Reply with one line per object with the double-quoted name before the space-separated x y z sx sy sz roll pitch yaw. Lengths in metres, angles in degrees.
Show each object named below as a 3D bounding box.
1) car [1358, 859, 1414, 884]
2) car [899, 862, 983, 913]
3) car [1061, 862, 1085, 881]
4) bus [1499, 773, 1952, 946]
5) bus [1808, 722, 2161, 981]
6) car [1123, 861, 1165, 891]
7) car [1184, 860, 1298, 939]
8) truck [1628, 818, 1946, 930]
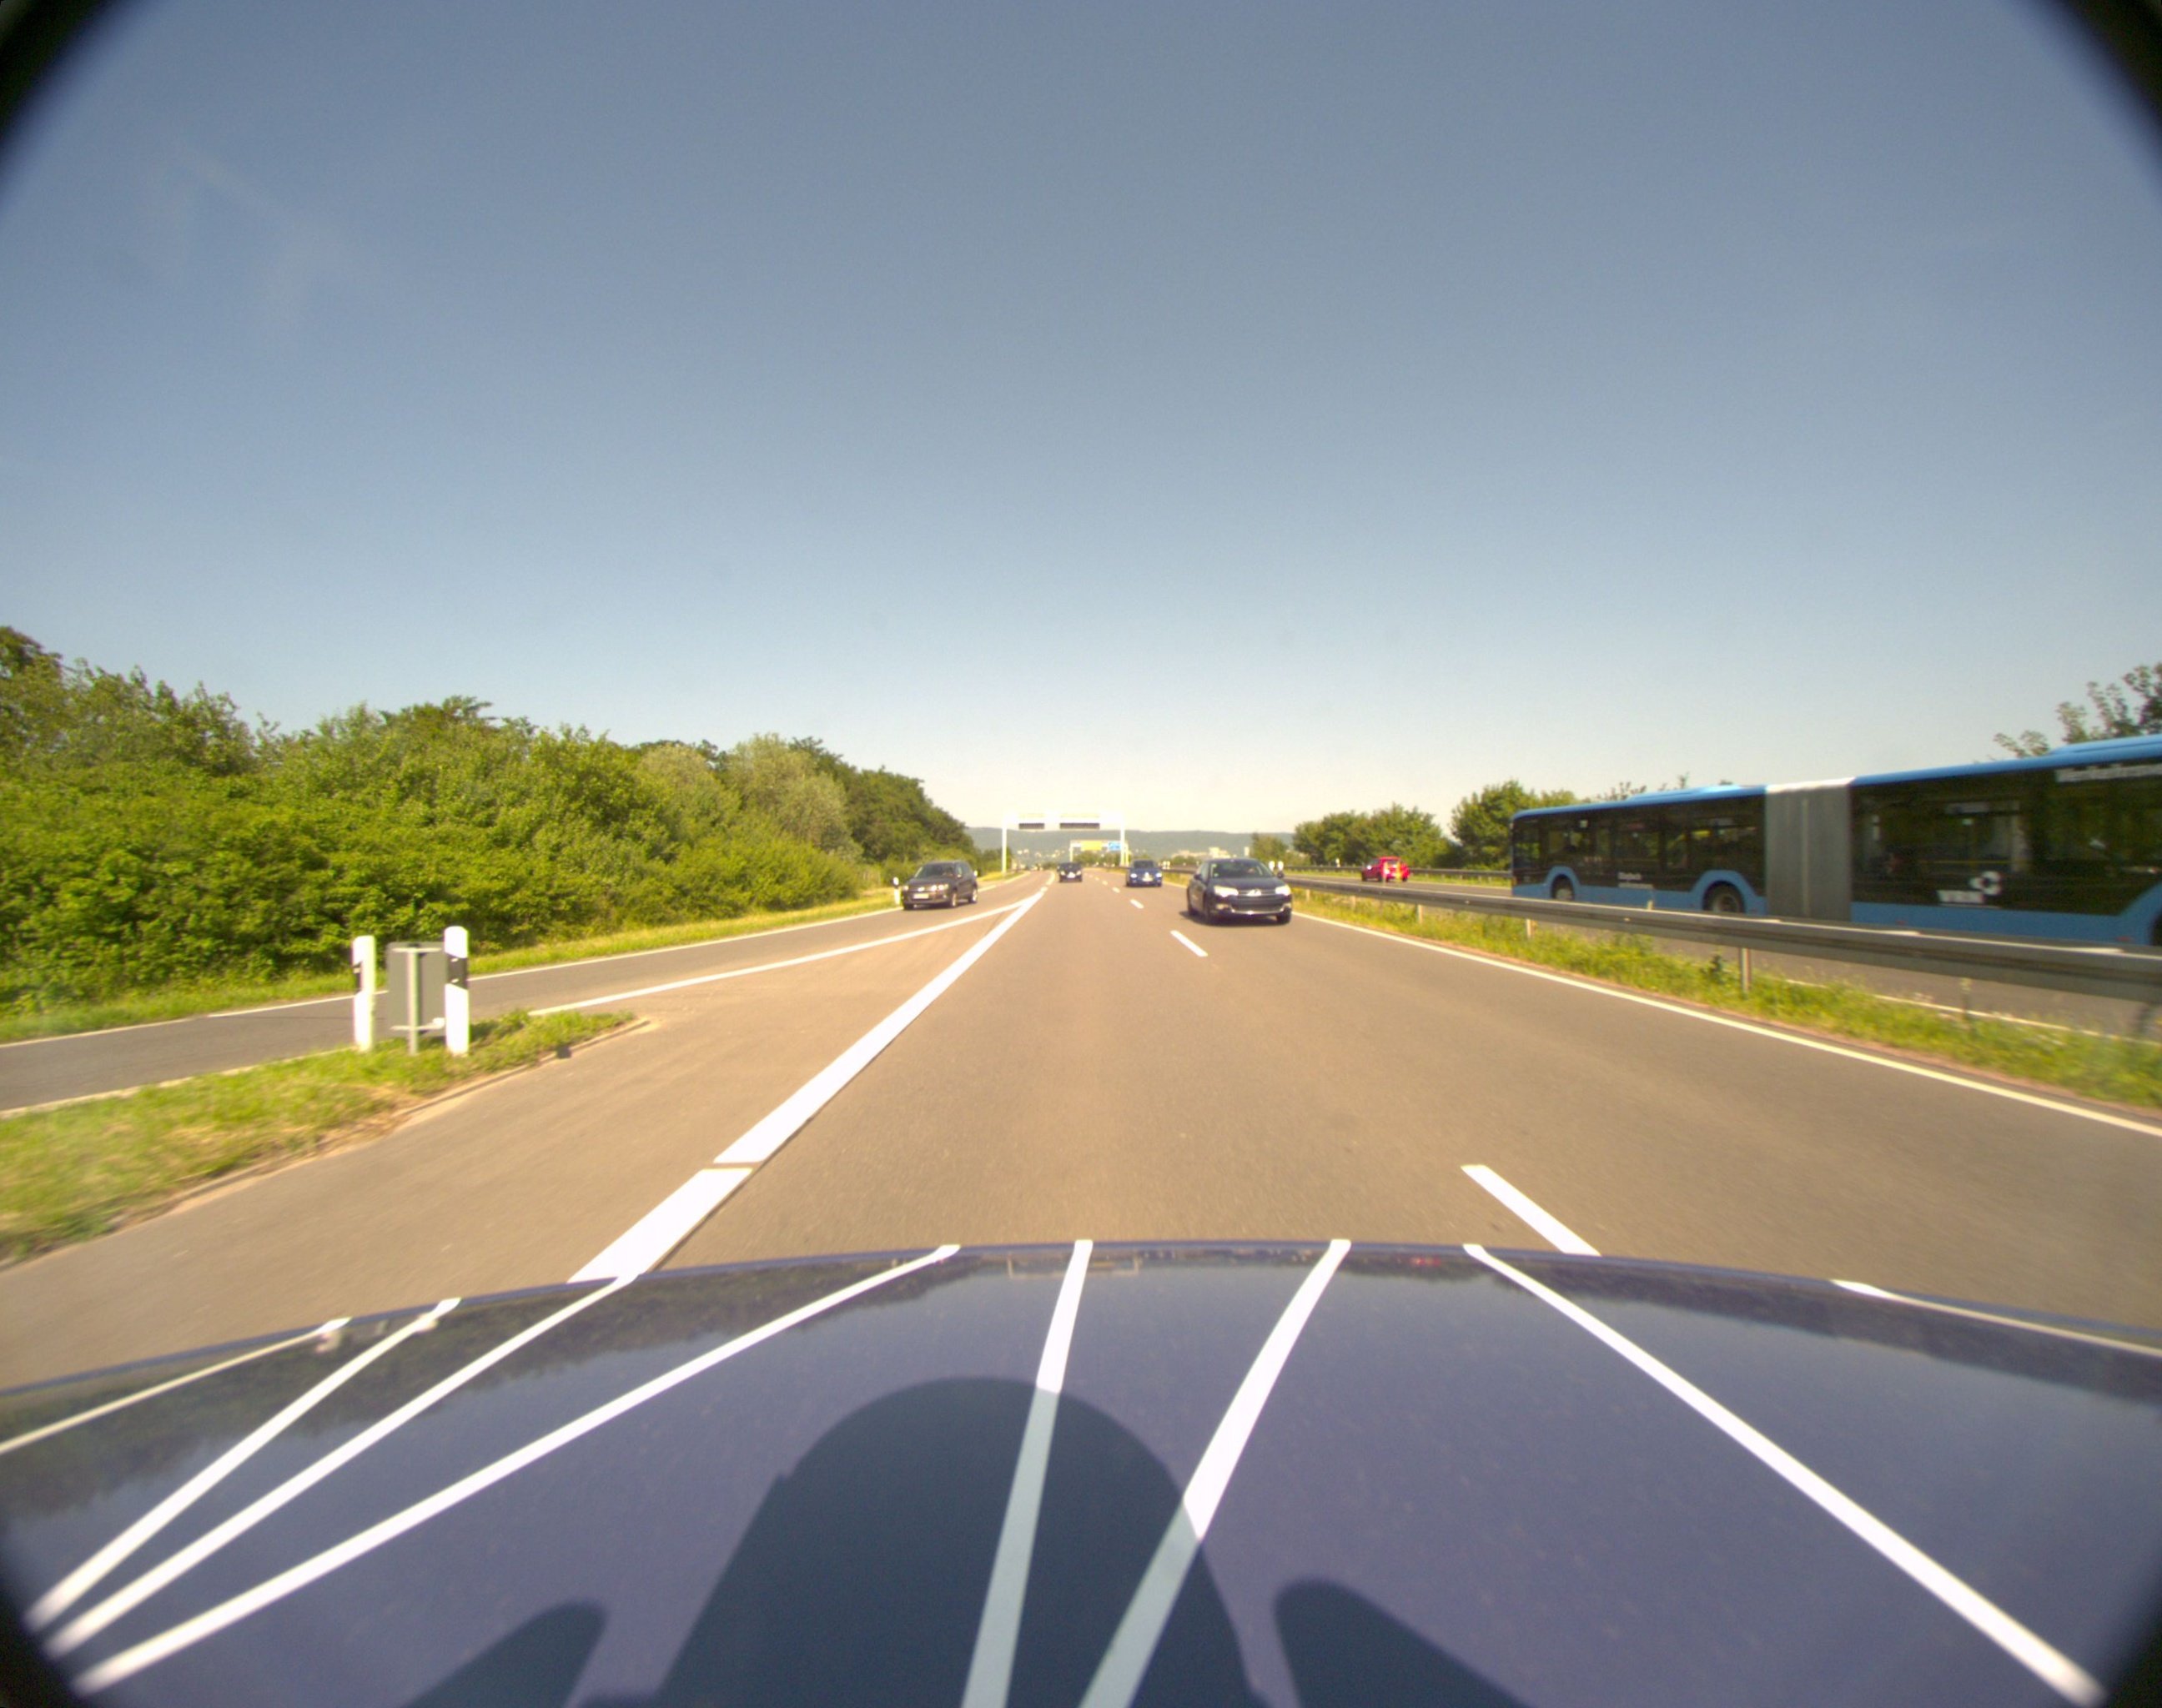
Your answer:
"car" 18.731 1.046 46.879 1.789 1.437 4.000 0 0 -1
"car" -4.967 1.137 27.503 1.789 1.636 4.150 -2 -1 7
"car" -0.566 1.213 54.167 1.601 1.241 4.000 -2 -1 0
"bus" 14.300 0.126 18.590 2.732 3.092 9.835 -1 0 0
"bus" 14.296 -0.038 9.346 2.732 3.092 8.393 -1 0 0
"car" 3.304 1.141 40.507 1.652 1.403 3.774 -2 0 -3
"car" 3.577 0.951 17.743 1.788 1.524 4.375 -1 0 1
"truck" 18.213 0.463 20.329 2.132 2.439 6.616 2 0 -2
